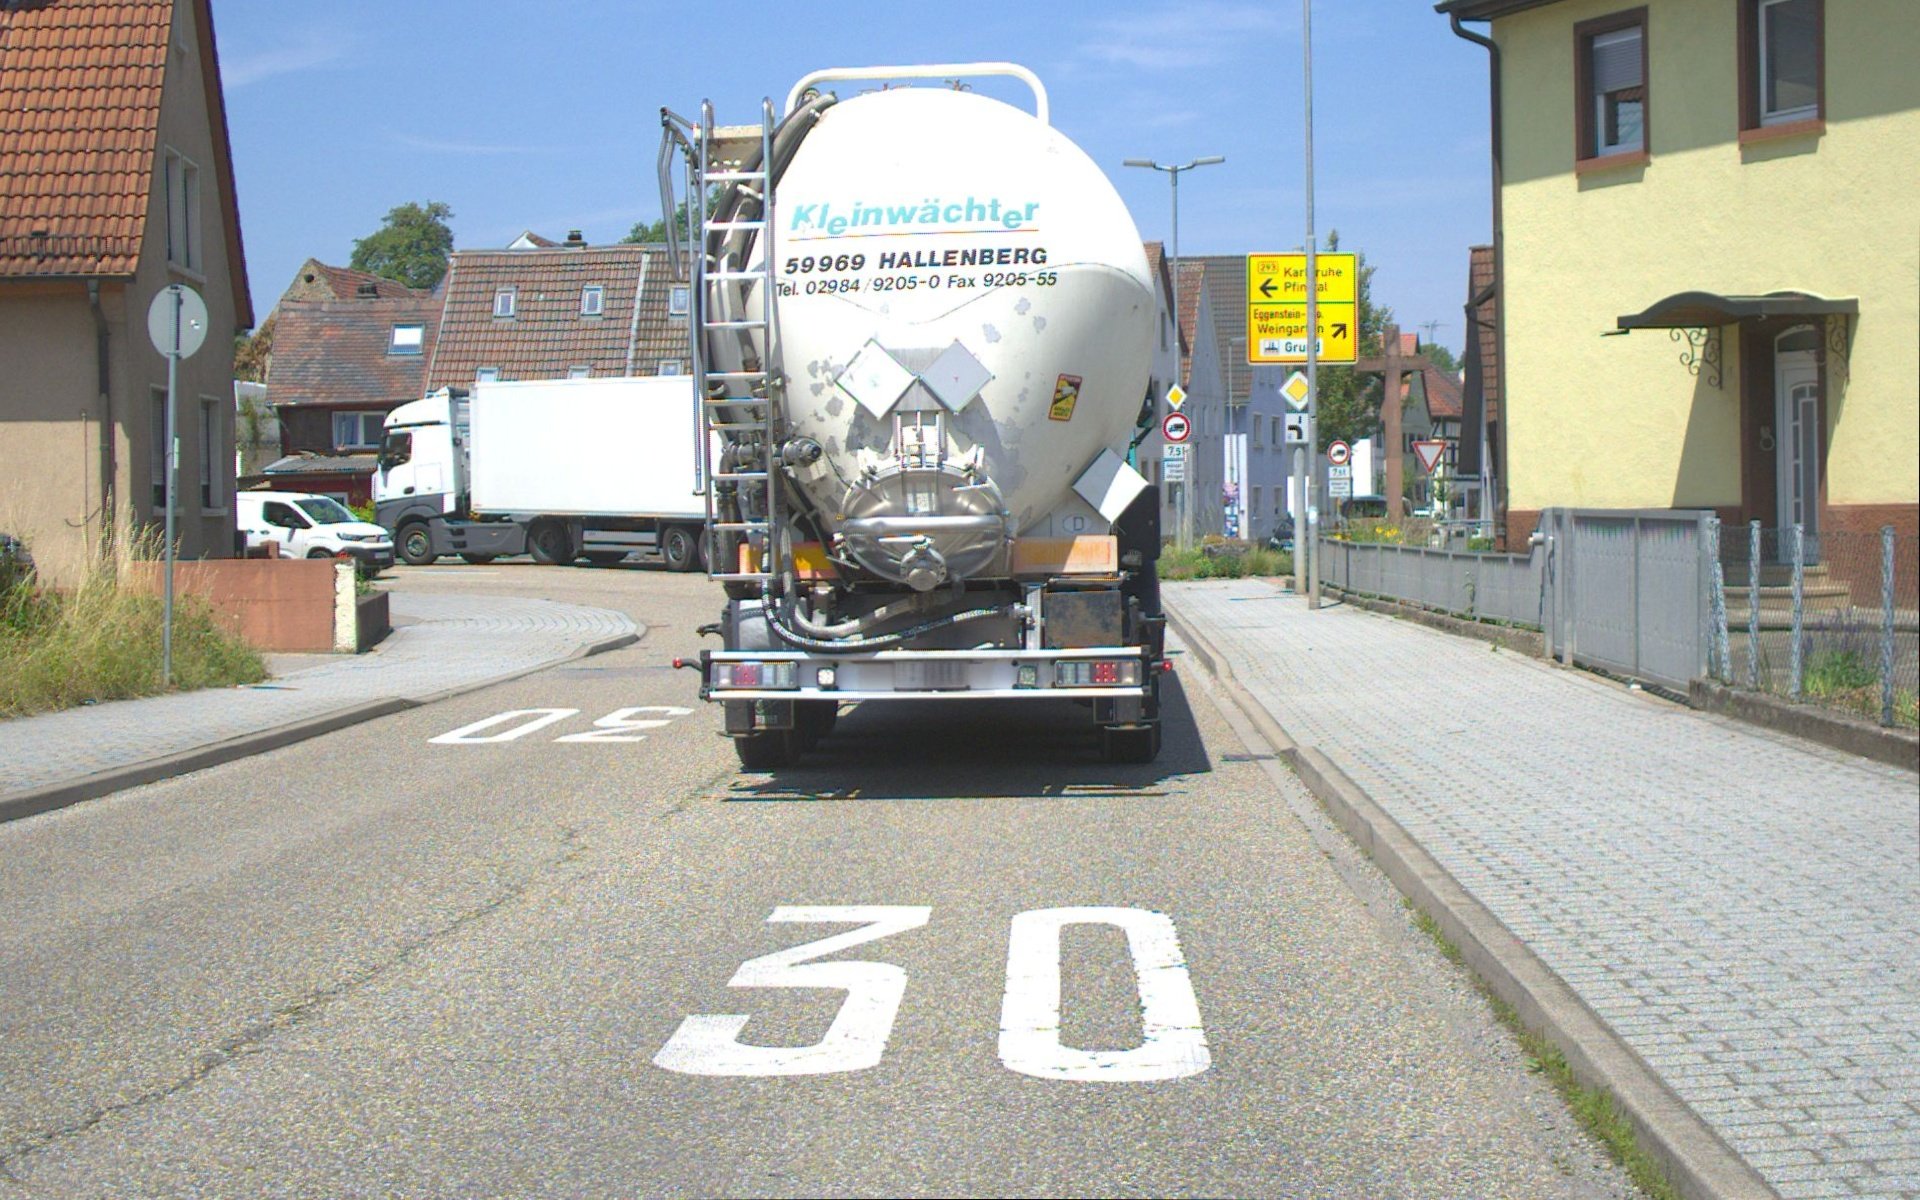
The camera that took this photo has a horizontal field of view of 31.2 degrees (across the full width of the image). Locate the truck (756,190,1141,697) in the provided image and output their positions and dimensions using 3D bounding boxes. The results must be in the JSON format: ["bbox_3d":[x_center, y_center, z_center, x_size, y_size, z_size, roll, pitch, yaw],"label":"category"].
[{"bbox_3d":[-0.019,-1.271,29.747,2.988,3.951,5.579,1,1,2],"label":"truck"}]

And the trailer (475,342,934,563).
[{"bbox_3d":[-5.621,-2.936,72.128,3.133,4.262,12.491,-1,1,-38],"label":"trailer"}]

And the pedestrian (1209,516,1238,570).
[{"bbox_3d":[9.713,-2.107,126.706,0.770,2.007,0.975,1,2,23],"label":"pedestrian"}]

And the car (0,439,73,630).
[{"bbox_3d":[-10.210,-0.541,30.470,4.125,1.632,1.865,-1,1,4],"label":"car"}]

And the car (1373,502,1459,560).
[{"bbox_3d":[13.052,-1.984,98.186,1.818,1.629,4.204,0,1,16],"label":"car"}]

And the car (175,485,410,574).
[{"bbox_3d":[-13.881,-1.493,71.464,4.512,1.779,1.877,1,3,24],"label":"car"}]

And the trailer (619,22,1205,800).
[{"bbox_3d":[-0.179,-1.049,23.303,2.952,3.934,11.619,1,1,1],"label":"trailer"}]

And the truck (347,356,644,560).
[{"bbox_3d":[-10.409,-3.110,76.989,5.925,4.386,3.109,0,1,30],"label":"truck"}]

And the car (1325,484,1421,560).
[{"bbox_3d":[11.001,-2.050,91.403,1.995,1.905,4.321,0,0,14],"label":"car"}]
